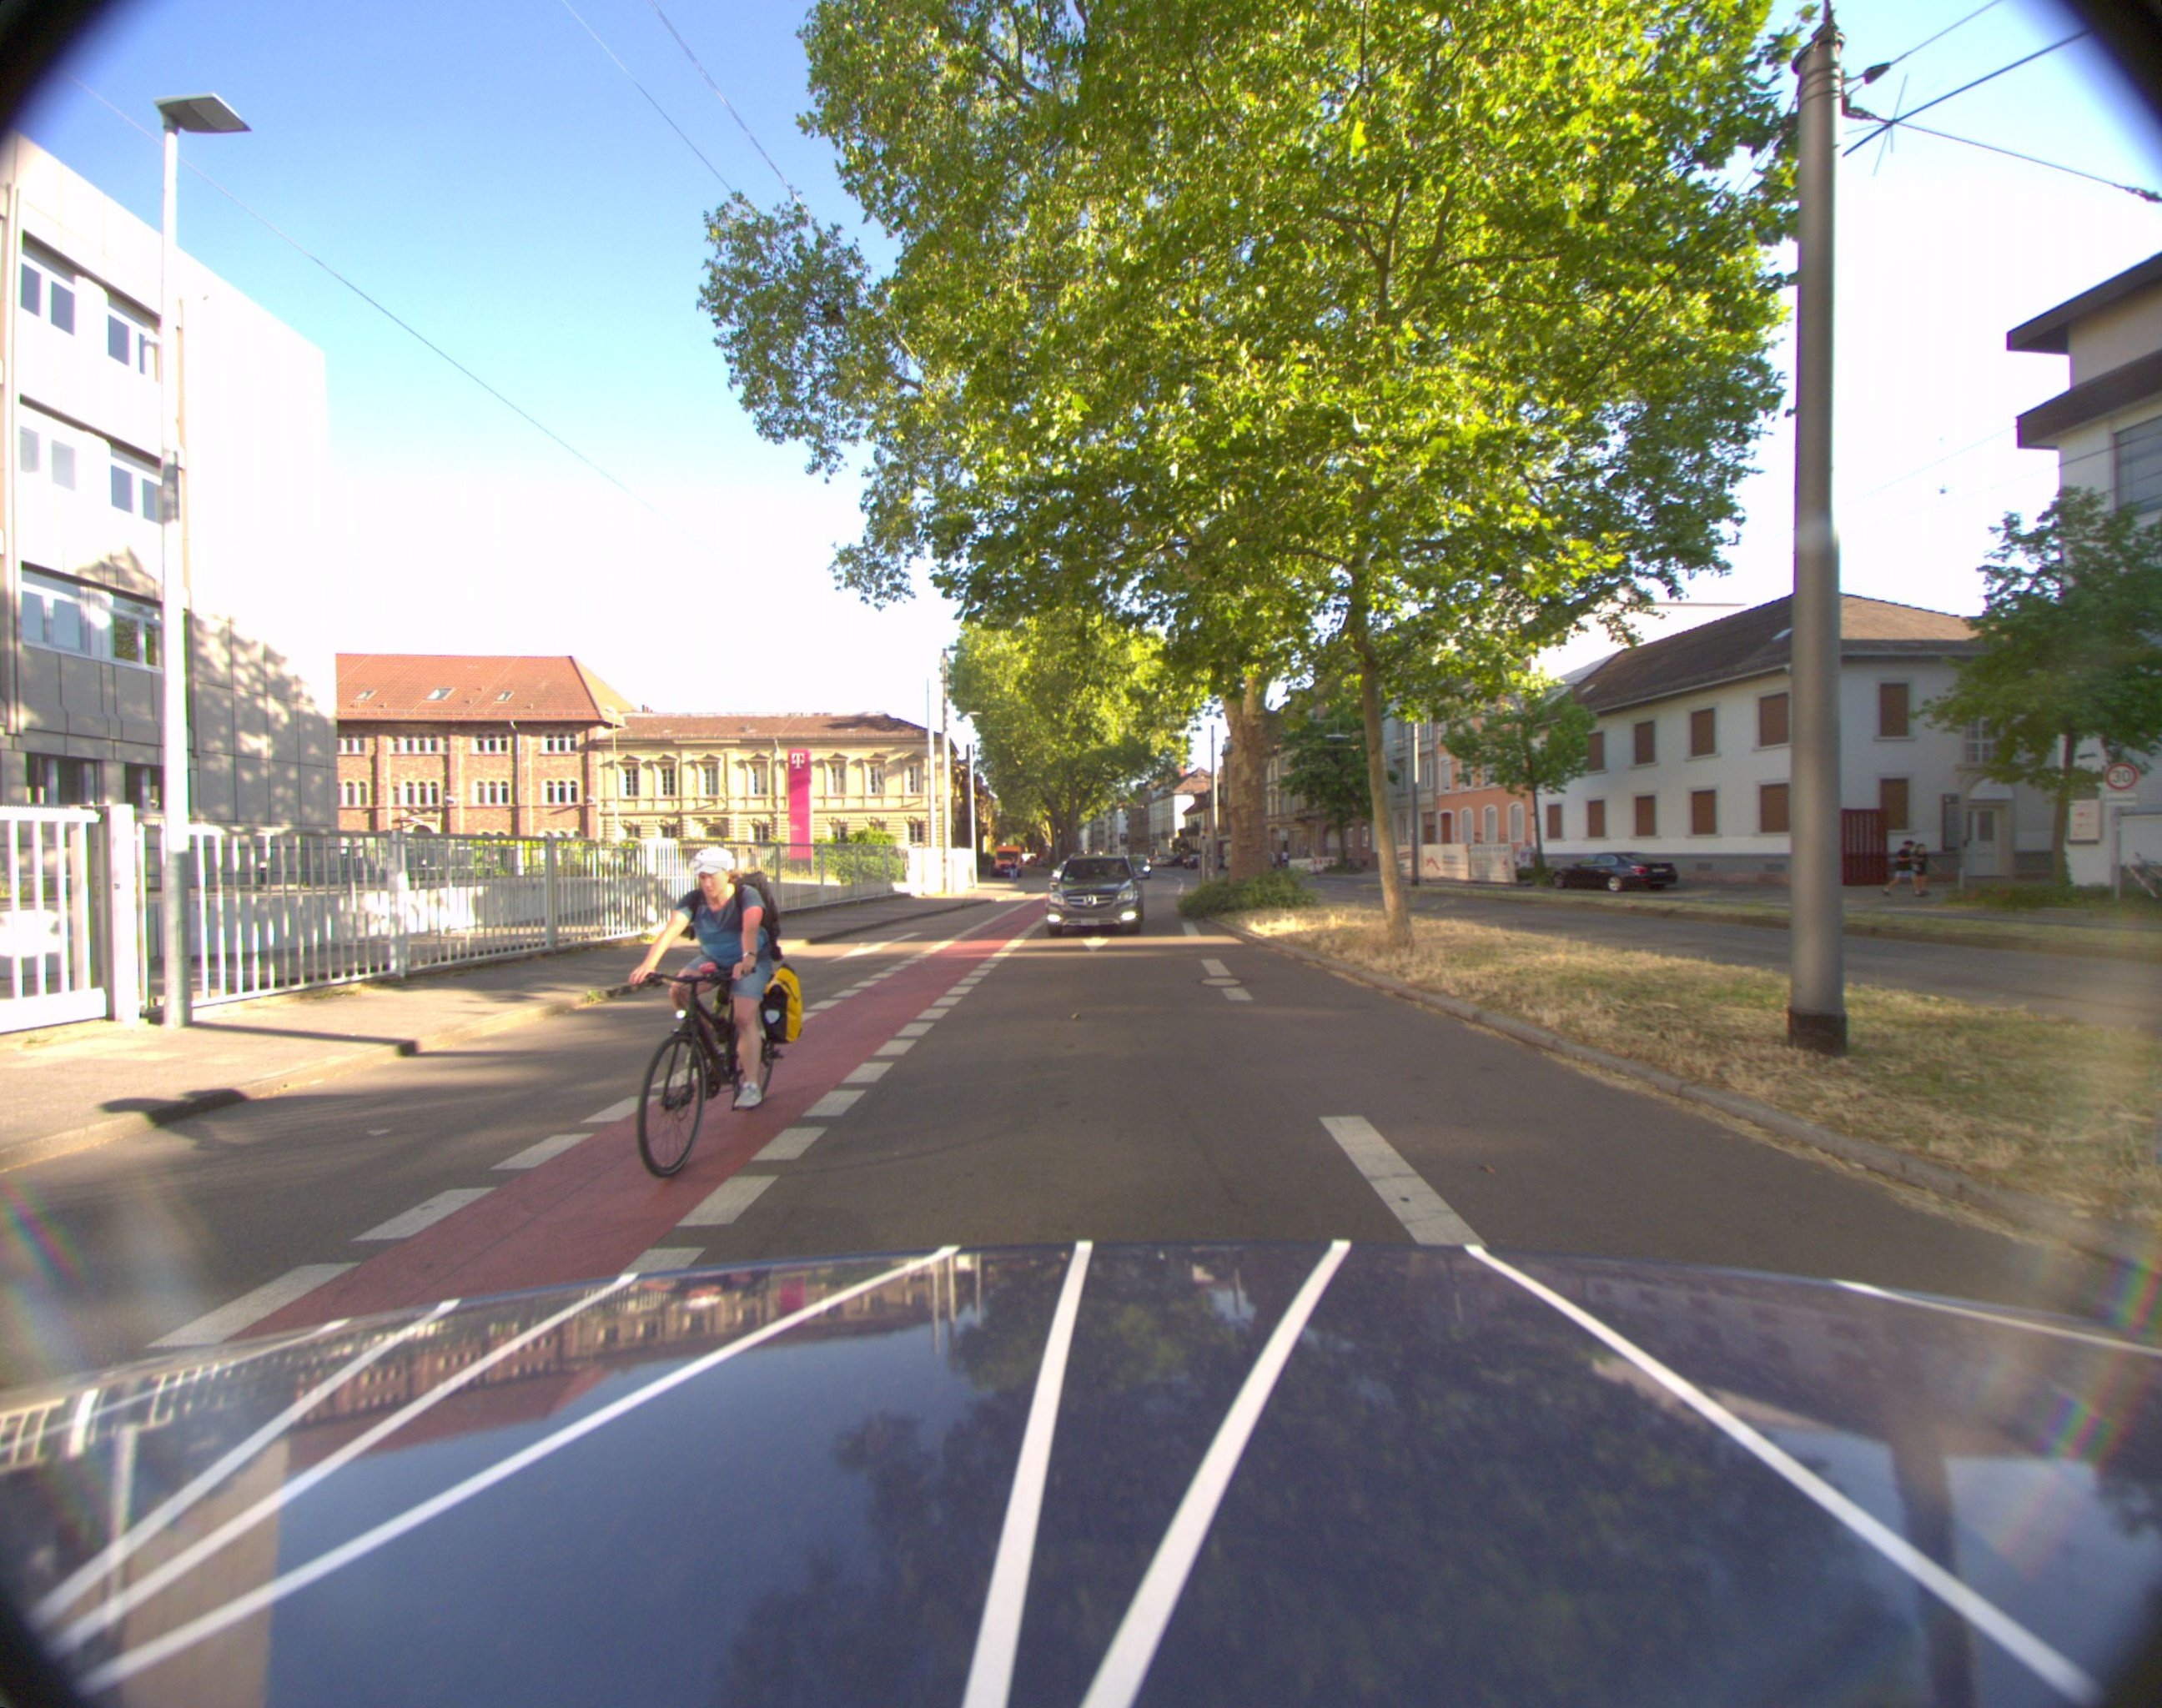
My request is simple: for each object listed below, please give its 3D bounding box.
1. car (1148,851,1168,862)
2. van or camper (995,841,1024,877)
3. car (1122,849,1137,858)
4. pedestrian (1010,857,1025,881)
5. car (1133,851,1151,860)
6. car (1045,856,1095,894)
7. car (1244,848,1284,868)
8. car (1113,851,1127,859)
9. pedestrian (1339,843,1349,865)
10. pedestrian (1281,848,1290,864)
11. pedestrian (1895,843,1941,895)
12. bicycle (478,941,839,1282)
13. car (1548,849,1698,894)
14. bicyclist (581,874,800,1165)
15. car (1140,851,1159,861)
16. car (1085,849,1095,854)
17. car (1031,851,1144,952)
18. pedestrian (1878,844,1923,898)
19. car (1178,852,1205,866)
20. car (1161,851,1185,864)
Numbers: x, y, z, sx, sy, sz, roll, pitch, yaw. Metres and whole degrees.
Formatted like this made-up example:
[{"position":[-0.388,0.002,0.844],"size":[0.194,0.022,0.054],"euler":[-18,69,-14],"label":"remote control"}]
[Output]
[{"position":[11.600,0.354,114.891],"size":[2.088,1.531,4.036],"euler":[-4,1,-7],"label":"car"},{"position":[-5.453,0.343,58.720],"size":[1.999,2.578,5.623],"euler":[-2,1,-4],"label":"van or camper"},{"position":[9.006,-0.059,140.932],"size":[2.088,1.531,4.006],"euler":[-4,1,-7],"label":"car"},{"position":[-3.920,0.901,46.916],"size":[0.899,1.464,0.810],"euler":[-1,1,-1],"label":"pedestrian"},{"position":[10.475,0.235,130.721],"size":[2.088,1.531,4.253],"euler":[-4,1,-7],"label":"car"},{"position":[-0.456,0.952,36.312],"size":[1.792,1.493,4.302],"euler":[-3,1,6],"label":"car"},{"position":[16.868,0.356,70.314],"size":[2.088,1.664,4.530],"euler":[-4,1,-7],"label":"car"},{"position":[7.940,0.198,156.247],"size":[2.088,1.531,4.117],"euler":[-4,1,-7],"label":"car"},{"position":[21.212,0.005,61.349],"size":[0.561,1.798,0.705],"euler":[-1,1,1],"label":"pedestrian"},{"position":[19.858,0.228,73.757],"size":[0.641,1.519,0.615],"euler":[-1,1,-3],"label":"pedestrian"},{"position":[24.561,0.433,22.302],"size":[0.537,1.519,0.711],"euler":[-1,1,-5],"label":"pedestrian"},{"position":[-2.122,1.203,4.315],"size":[0.764,1.137,2.306],"euler":[-1,0,-1],"label":"bicycle"},{"position":[20.523,0.617,29.068],"size":[2.088,1.462,4.576],"euler":[-4,1,-7],"label":"car"},{"position":[-2.126,0.846,4.261],"size":[0.728,1.414,0.859],"euler":[-2,1,-1],"label":"bicyclist"},{"position":[10.804,0.317,120.811],"size":[2.088,1.531,4.095],"euler":[-4,1,-7],"label":"car"},{"position":[2.532,-0.729,218.669],"size":[2.088,1.531,4.124],"euler":[-4,1,-7],"label":"car"},{"position":[0.238,0.844,15.763],"size":[1.908,1.634,4.517],"euler":[-3,1,3],"label":"car"},{"position":[23.733,0.486,22.006],"size":[0.537,1.519,0.711],"euler":[-1,1,-11],"label":"pedestrian"},{"position":[13.522,0.589,92.935],"size":[2.088,1.531,4.513],"euler":[-4,1,-7],"label":"car"},{"position":[12.751,0.462,106.012],"size":[2.088,1.531,5.101],"euler":[-4,1,-7],"label":"car"}]
